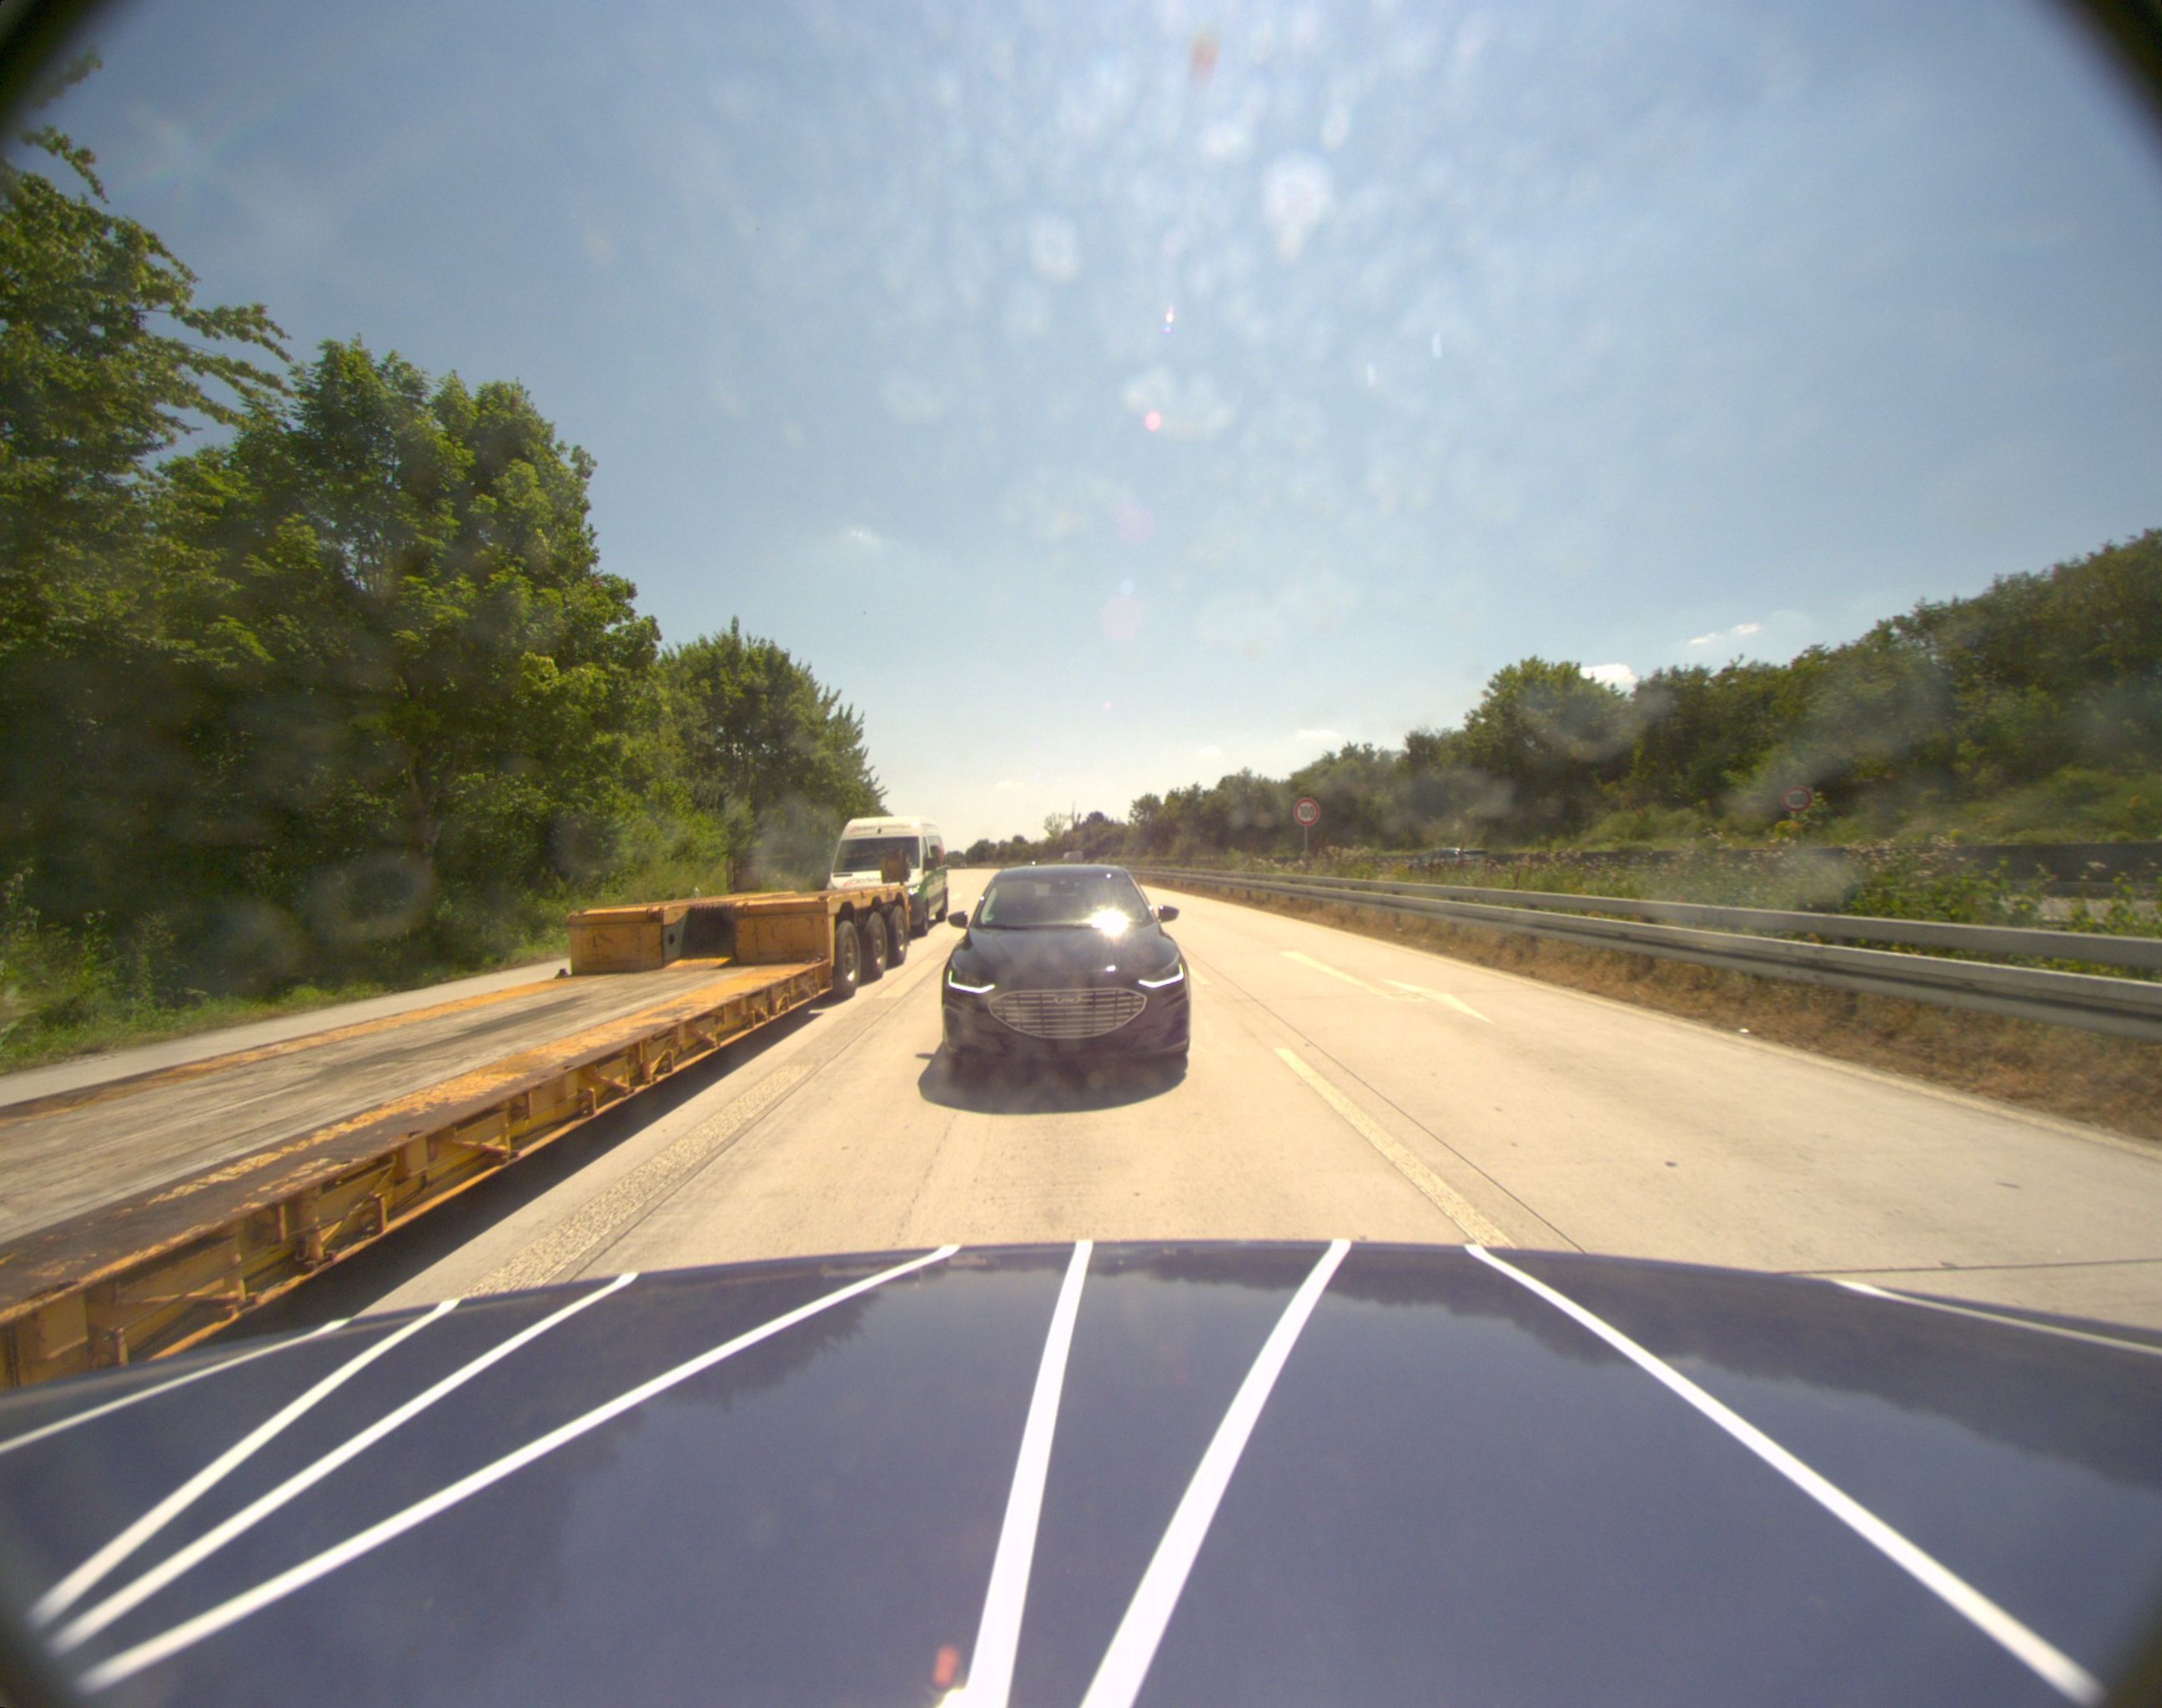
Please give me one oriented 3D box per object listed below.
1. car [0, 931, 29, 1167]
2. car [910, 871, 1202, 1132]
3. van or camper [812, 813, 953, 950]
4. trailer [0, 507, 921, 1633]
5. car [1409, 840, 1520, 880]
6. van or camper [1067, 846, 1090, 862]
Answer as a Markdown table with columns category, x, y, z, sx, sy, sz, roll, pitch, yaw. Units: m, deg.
| category | x | y | z | sx | sy | sz | roll | pitch | yaw |
| --- | --- | --- | --- | --- | --- | --- | --- | --- | --- |
| car | -7.569 | 1.264 | 2.509 | 1.772 | 1.453 | 4.597 | -2 | 1 | -1 |
| car | -0.124 | 0.953 | 6.792 | 1.731 | 1.430 | 4.304 | -2 | 0 | 1 |
| van or camper | -4.295 | 0.502 | 17.539 | 2.069 | 2.559 | 5.904 | -2 | 1 | -5 |
| trailer | -4.025 | 0.529 | 3.789 | 3.035 | 2.578 | 16.355 | -2 | 0 | 0 |
| car | 15.623 | 0.199 | 31.292 | 1.878 | 1.438 | 4.600 | -2 | 1 | -5 |
| van or camper | -0.349 | -0.006 | 100.115 | 2.179 | 2.002 | 5.634 | -2 | 1 | -8 |
